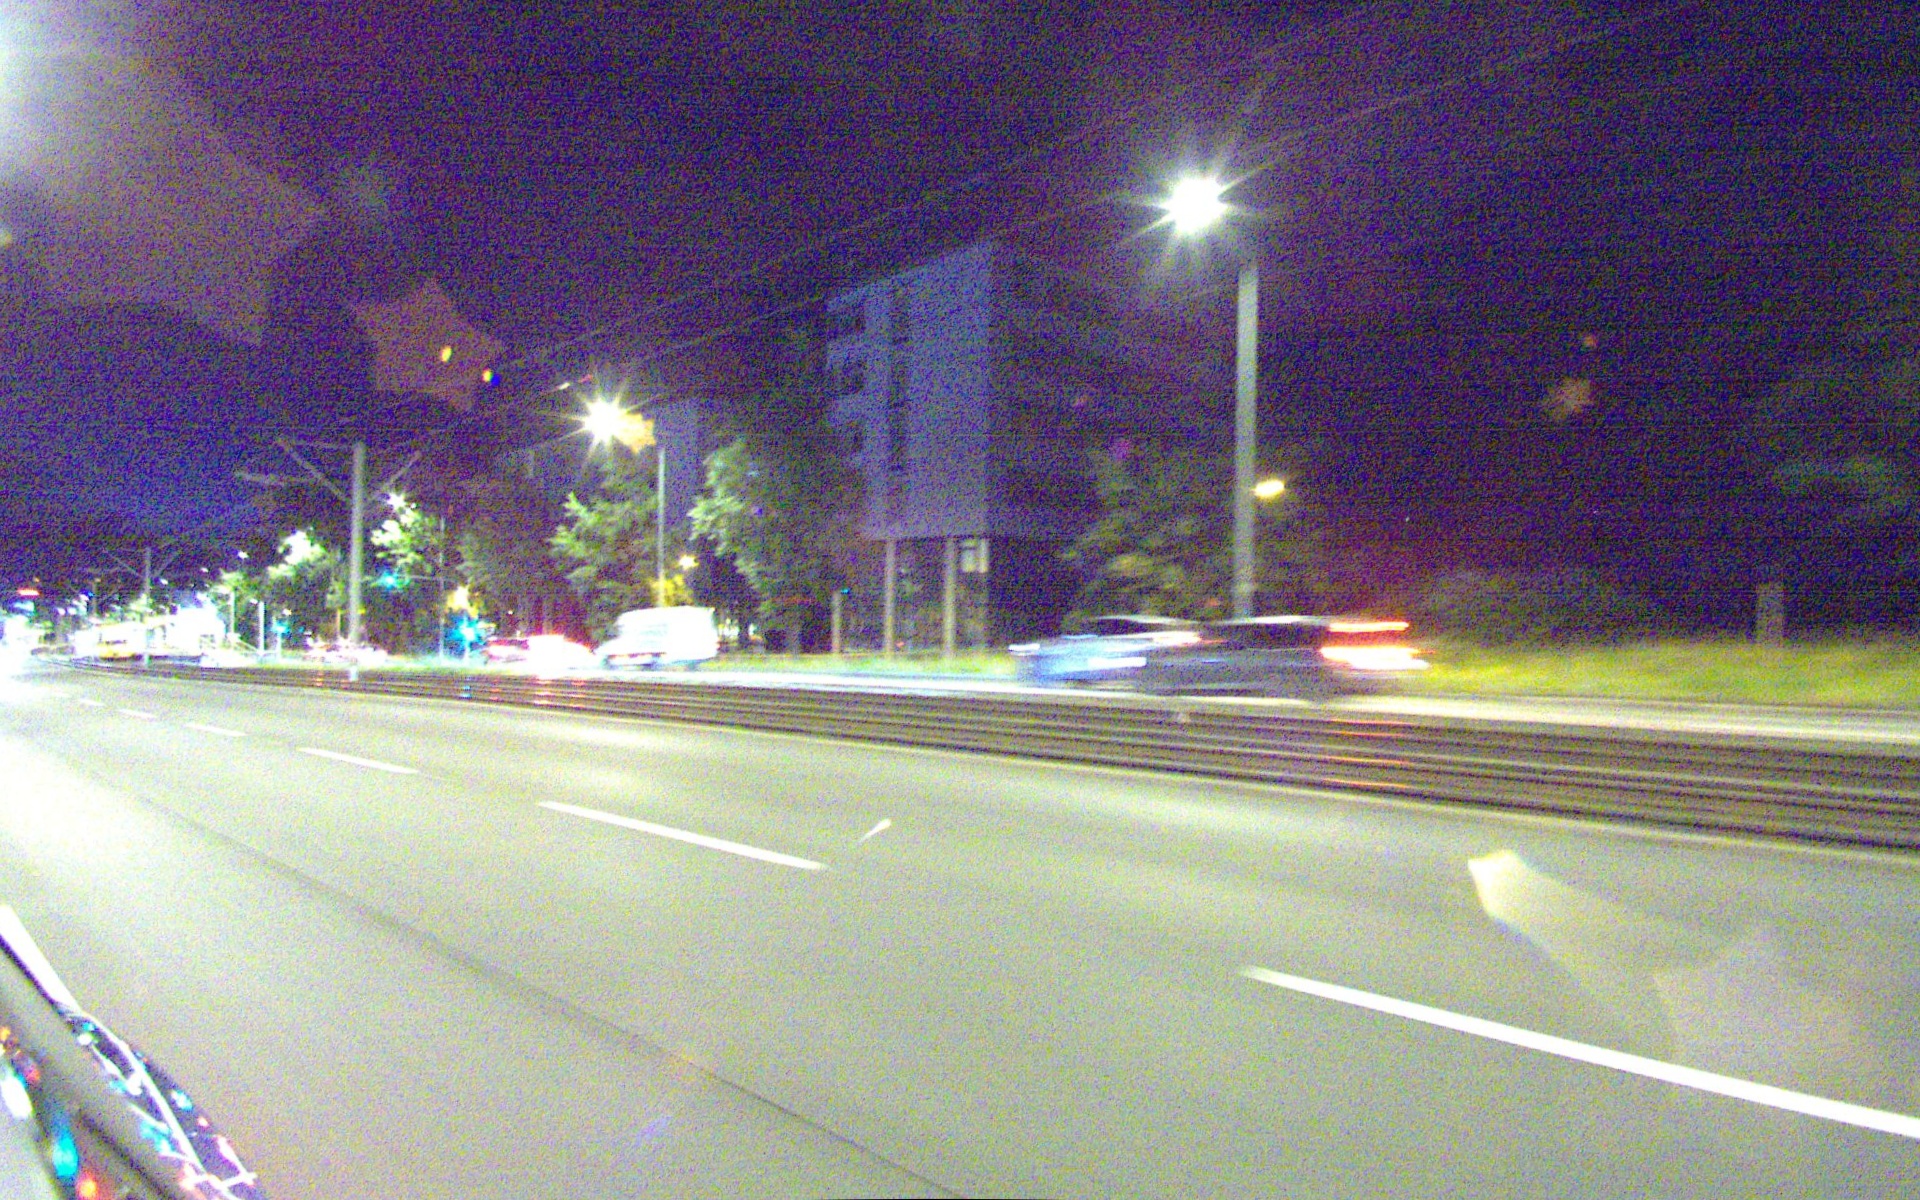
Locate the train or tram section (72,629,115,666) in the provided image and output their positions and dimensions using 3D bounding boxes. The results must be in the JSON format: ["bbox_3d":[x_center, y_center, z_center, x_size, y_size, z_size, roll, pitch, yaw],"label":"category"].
[{"bbox_3d":[-100.278,5.513,116.965,2.706,3.875,19.377,0,-2,-44],"label":"train or tram section"}]

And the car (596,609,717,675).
[{"bbox_3d":[-13.404,1.855,44.315,2.120,2.691,6.968,4,-5,-43],"label":"car"}]

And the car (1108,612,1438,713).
[{"bbox_3d":[5.053,1.007,16.853,4.955,1.440,1.846,-2,-4,42],"label":"car"}]

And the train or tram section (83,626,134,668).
[{"bbox_3d":[-87.087,4.804,103.313,2.726,3.856,18.682,0,-2,-44],"label":"train or tram section"}]

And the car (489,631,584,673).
[{"bbox_3d":[-15.731,1.917,37.514,4.338,1.451,1.602,-2,-4,43],"label":"car"}]

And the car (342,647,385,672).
[{"bbox_3d":[-40.110,3.982,67.969,1.641,1.528,3.913,0,-2,-44],"label":"car"}]

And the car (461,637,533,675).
[{"bbox_3d":[-22.390,2.660,48.862,4.228,1.726,1.759,-2,-2,44],"label":"car"}]

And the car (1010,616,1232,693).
[{"bbox_3d":[3.468,1.188,22.423,4.613,1.526,1.842,-2,-4,43],"label":"car"}]

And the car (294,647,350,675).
[{"bbox_3d":[-38.956,3.691,61.770,4.172,1.508,1.766,-1,-1,41],"label":"car"}]
